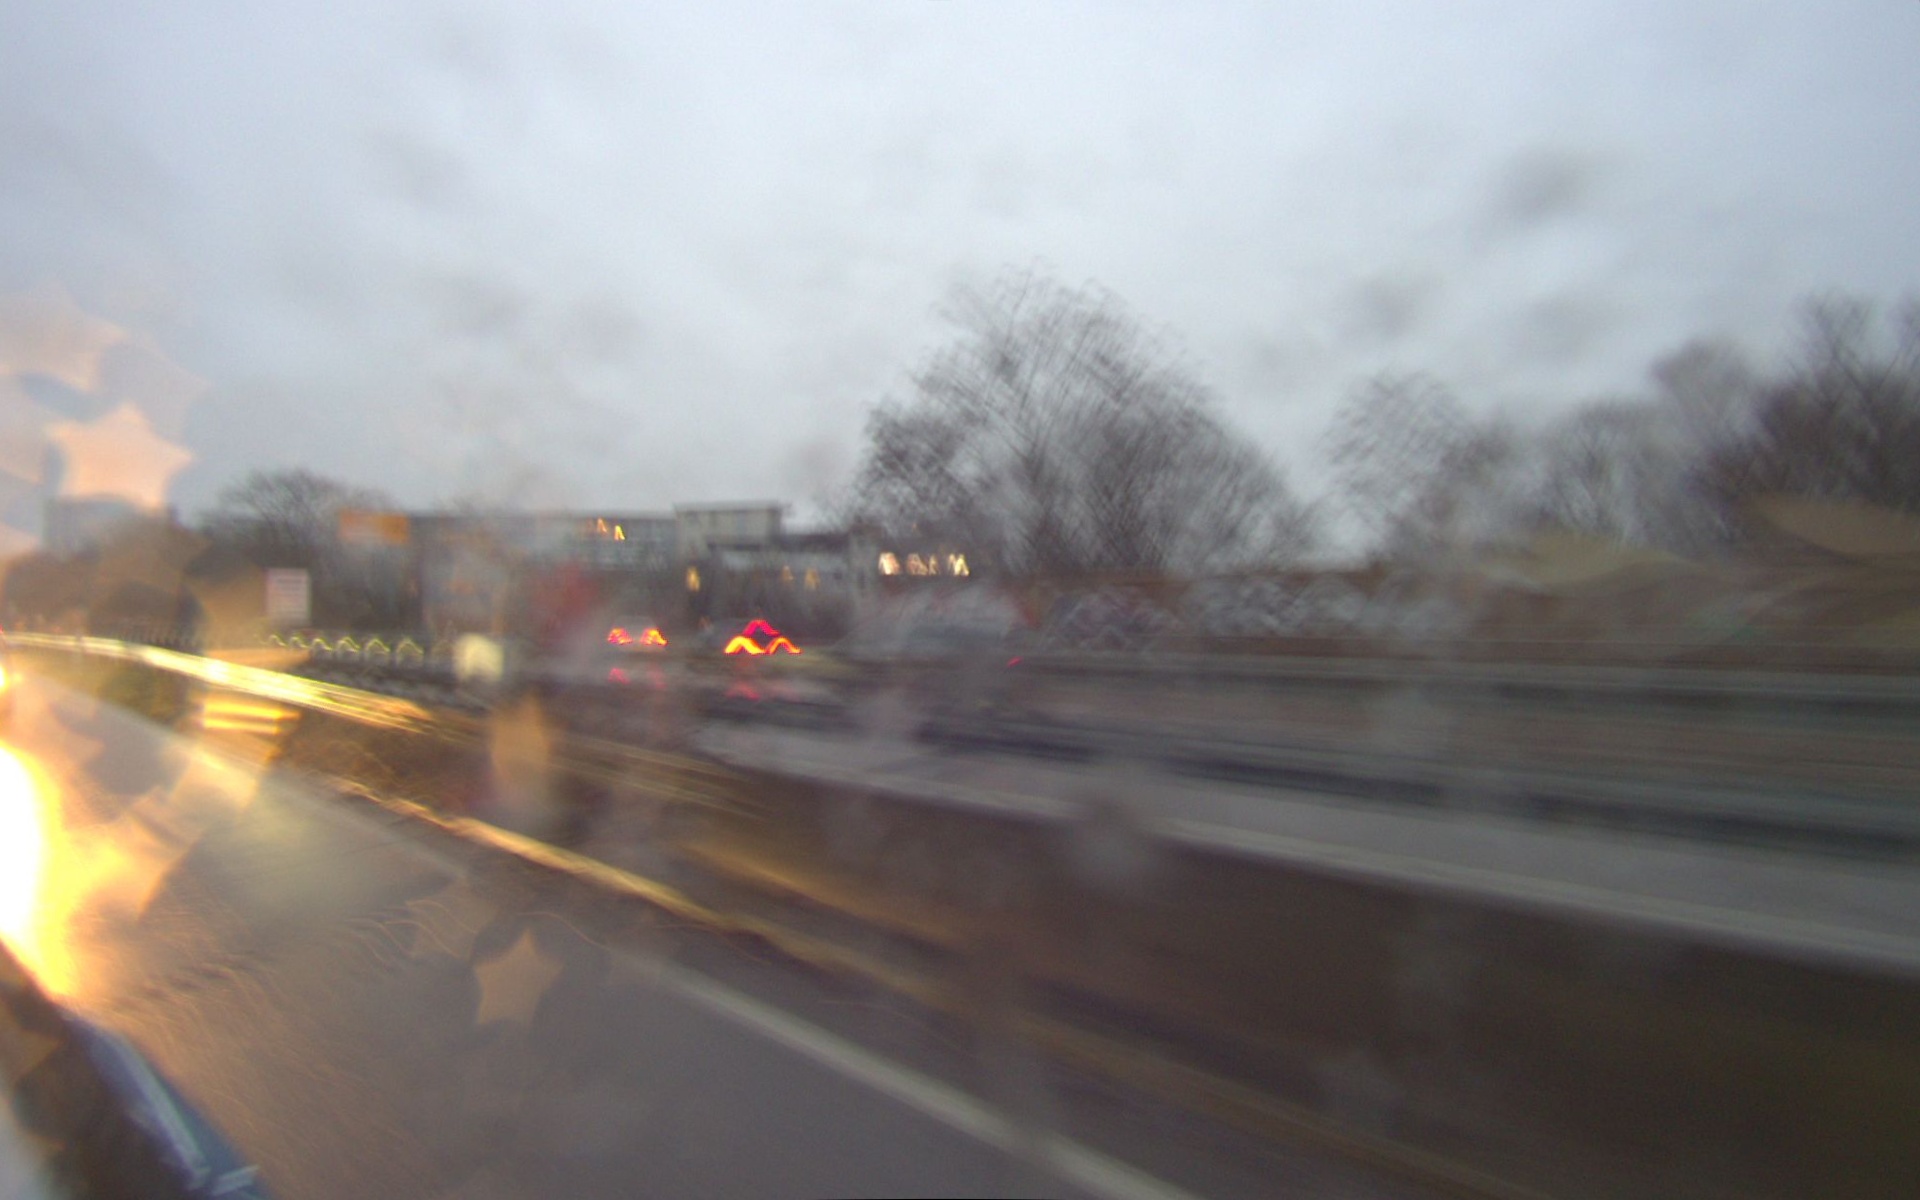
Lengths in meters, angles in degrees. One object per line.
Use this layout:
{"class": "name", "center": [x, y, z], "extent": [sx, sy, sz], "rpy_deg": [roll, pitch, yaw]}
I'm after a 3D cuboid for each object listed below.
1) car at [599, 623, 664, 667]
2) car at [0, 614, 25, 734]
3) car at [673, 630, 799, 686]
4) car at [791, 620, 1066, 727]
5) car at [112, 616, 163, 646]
{"class": "car", "center": [-13.051, 1.718, 40.041], "extent": [1.814, 1.574, 4.698], "rpy_deg": [-1, 0, -26]}
{"class": "car", "center": [-14.855, 1.015, 14.614], "extent": [4.166, 1.611, 1.742], "rpy_deg": [-1, -1, 44]}
{"class": "car", "center": [-6.508, 1.598, 29.043], "extent": [1.763, 1.414, 4.317], "rpy_deg": [0, -1, -39]}
{"class": "car", "center": [-0.676, 1.150, 17.412], "extent": [4.849, 1.576, 1.767], "rpy_deg": [-1, -1, 42]}
{"class": "car", "center": [-57.057, 2.142, 70.181], "extent": [4.284, 1.933, 1.973], "rpy_deg": [-2, 0, 41]}
